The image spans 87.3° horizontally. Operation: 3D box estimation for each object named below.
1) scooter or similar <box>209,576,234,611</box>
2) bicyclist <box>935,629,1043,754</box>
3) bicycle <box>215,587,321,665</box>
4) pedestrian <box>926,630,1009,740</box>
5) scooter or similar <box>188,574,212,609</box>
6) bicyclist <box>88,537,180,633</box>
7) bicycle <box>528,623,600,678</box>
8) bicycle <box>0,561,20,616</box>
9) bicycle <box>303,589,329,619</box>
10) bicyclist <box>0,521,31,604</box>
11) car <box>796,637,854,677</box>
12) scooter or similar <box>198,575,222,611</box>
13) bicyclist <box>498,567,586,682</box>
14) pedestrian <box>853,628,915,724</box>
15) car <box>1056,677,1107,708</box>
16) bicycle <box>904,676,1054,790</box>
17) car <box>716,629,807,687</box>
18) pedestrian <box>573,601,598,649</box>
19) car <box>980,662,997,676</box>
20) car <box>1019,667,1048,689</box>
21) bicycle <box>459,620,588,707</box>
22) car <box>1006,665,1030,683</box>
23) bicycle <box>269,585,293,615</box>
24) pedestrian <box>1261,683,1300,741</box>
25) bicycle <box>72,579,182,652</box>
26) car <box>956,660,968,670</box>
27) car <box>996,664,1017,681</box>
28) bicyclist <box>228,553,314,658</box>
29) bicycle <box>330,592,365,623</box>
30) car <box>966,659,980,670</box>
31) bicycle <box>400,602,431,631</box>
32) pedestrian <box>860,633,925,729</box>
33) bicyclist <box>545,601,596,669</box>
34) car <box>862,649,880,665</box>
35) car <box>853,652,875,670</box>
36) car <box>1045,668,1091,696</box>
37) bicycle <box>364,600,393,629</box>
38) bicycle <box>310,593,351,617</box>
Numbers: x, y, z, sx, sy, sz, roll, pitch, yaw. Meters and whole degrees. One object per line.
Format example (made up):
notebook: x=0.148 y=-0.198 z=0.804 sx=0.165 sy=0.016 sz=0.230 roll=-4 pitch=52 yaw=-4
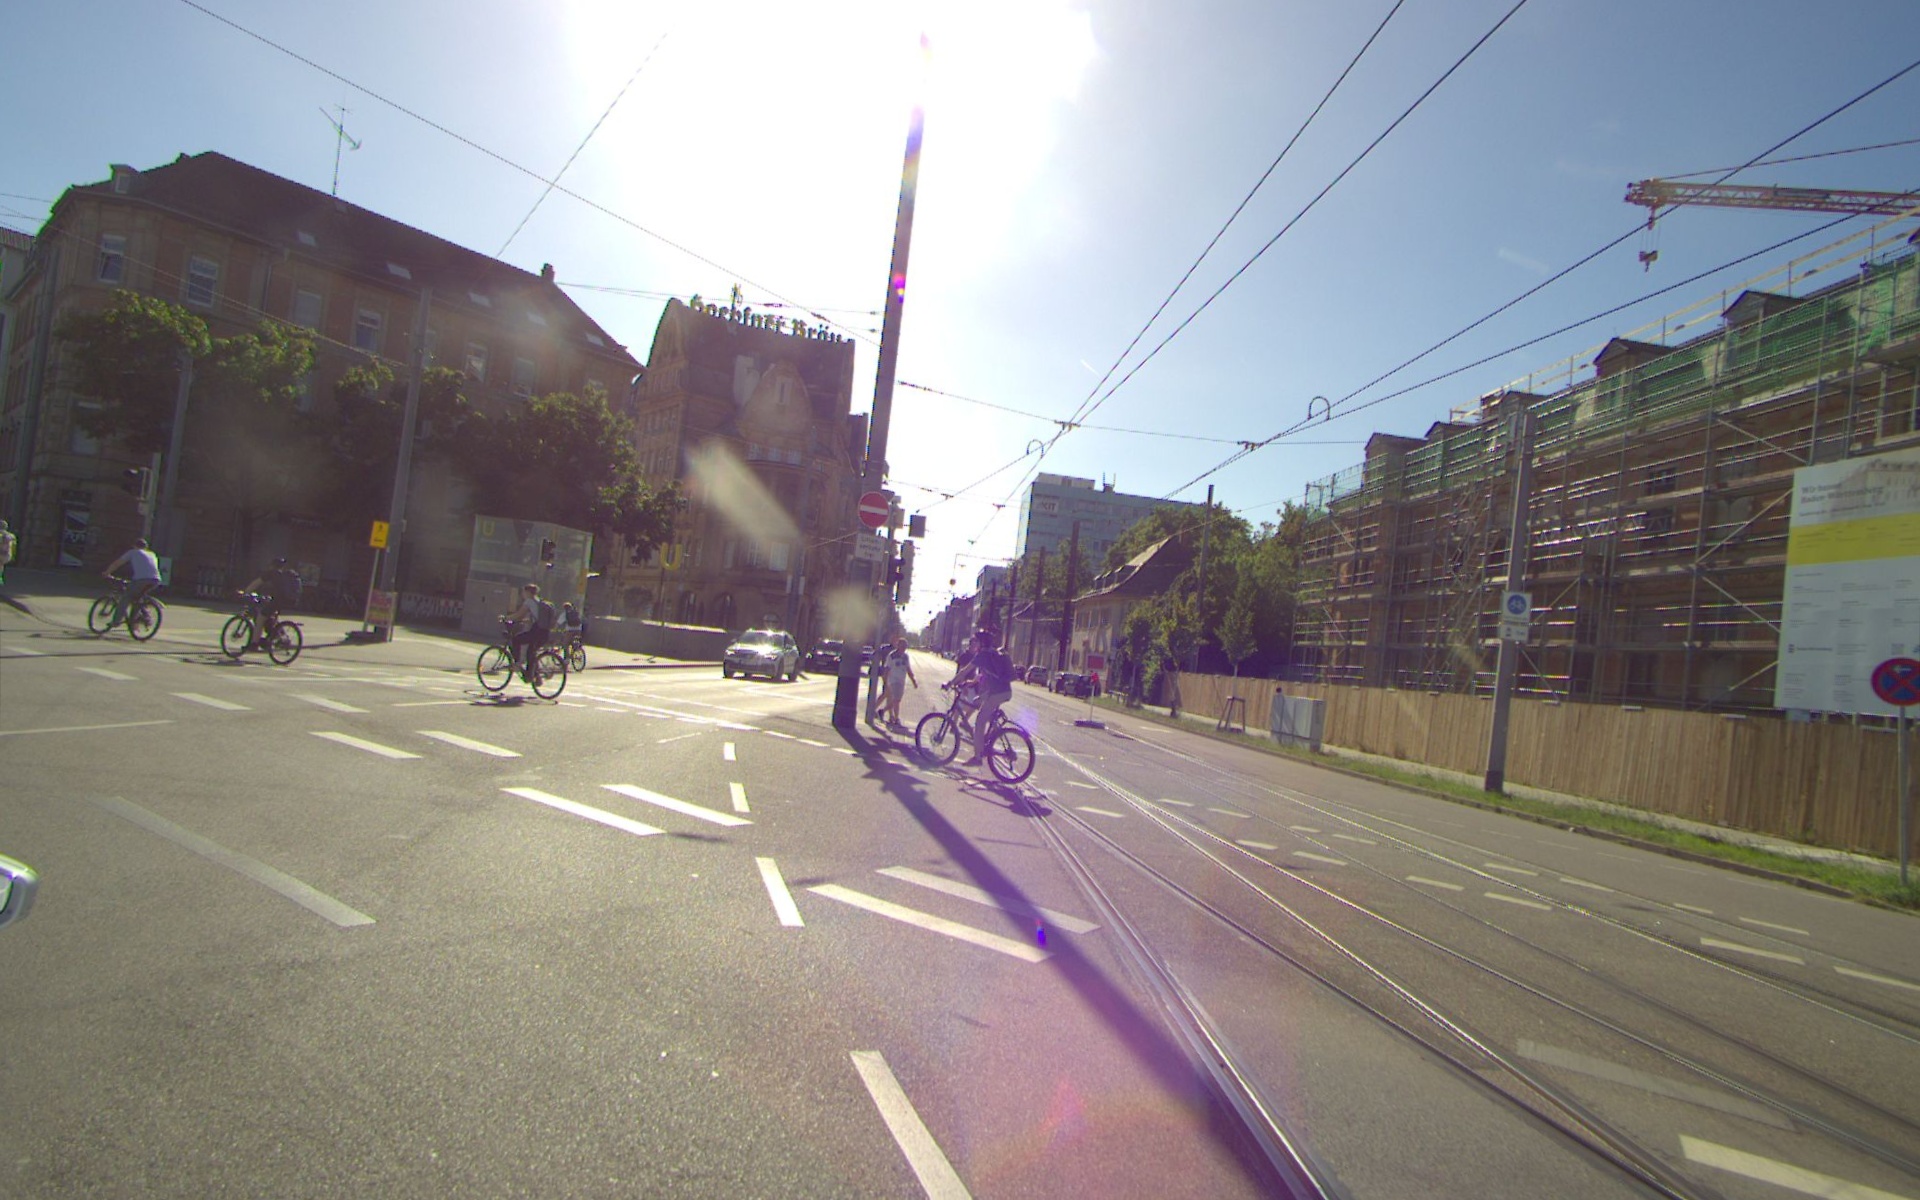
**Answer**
scooter or similar: x=-26.881 y=-0.239 z=36.603 sx=1.544 sy=1.208 sz=0.270 roll=3 pitch=-5 yaw=42
bicyclist: x=0.366 y=1.160 z=12.767 sx=1.021 sy=1.436 sz=0.675 roll=4 pitch=-4 yaw=37
bicycle: x=-11.614 y=0.429 z=16.868 sx=1.900 sy=1.130 sz=0.533 roll=4 pitch=-3 yaw=27
pedestrian: x=0.149 y=1.638 z=19.385 sx=1.033 sy=1.950 sz=0.931 roll=4 pitch=-4 yaw=37
scooter or similar: x=-27.300 y=-0.309 z=36.113 sx=1.544 sy=1.197 sz=0.270 roll=3 pitch=-5 yaw=42
bicyclist: x=-15.103 y=-0.256 z=18.405 sx=0.869 sy=1.611 sz=0.786 roll=6 pitch=-2 yaw=14
bicycle: x=-10.244 y=1.299 z=26.011 sx=1.901 sy=1.129 sz=0.533 roll=7 pitch=-3 yaw=31
bicycle: x=-21.053 y=-0.313 z=21.750 sx=1.903 sy=1.129 sz=0.532 roll=5 pitch=-4 yaw=35
bicycle: x=-25.055 y=0.155 z=39.123 sx=1.334 sy=1.072 sz=0.403 roll=3 pitch=-5 yaw=42
bicyclist: x=-20.917 y=-0.842 z=21.806 sx=1.101 sy=1.701 sz=0.683 roll=5 pitch=-4 yaw=31
car: x=-6.469 y=2.798 z=48.781 sx=1.882 sy=1.705 sz=4.259 roll=5 pitch=-4 yaw=3
scooter or similar: x=-27.103 y=-0.263 z=36.357 sx=1.544 sy=1.197 sz=0.270 roll=3 pitch=-5 yaw=42
bicyclist: x=-6.397 y=0.372 z=15.403 sx=0.935 sy=1.630 sz=0.552 roll=5 pitch=-4 yaw=22
pedestrian: x=-1.511 y=1.517 z=20.101 sx=0.811 sy=1.775 sz=0.660 roll=4 pitch=-4 yaw=37
car: x=7.503 y=5.721 z=62.595 sx=1.967 sy=1.590 sz=4.000 roll=8 pitch=-5 yaw=-9
bicycle: x=0.218 y=1.664 z=12.818 sx=1.837 sy=1.171 sz=0.532 roll=4 pitch=-3 yaw=37
car: x=-6.570 y=1.966 z=33.742 sx=1.882 sy=1.638 sz=4.259 roll=5 pitch=-4 yaw=3
pedestrian: x=-15.236 y=1.016 z=40.941 sx=0.537 sy=1.868 sz=0.651 roll=7 pitch=-3 yaw=-1
car: x=3.749 y=9.166 z=134.076 sx=1.883 sy=1.639 sz=3.825 roll=5 pitch=-4 yaw=-1
car: x=6.195 y=6.565 z=85.248 sx=1.883 sy=1.639 sz=3.825 roll=5 pitch=-4 yaw=-1
bicycle: x=-6.725 y=0.973 z=15.486 sx=1.898 sy=1.130 sz=0.533 roll=5 pitch=-3 yaw=22
car: x=5.698 y=7.305 z=99.586 sx=1.883 sy=1.639 sz=3.825 roll=5 pitch=-4 yaw=-1
bicycle: x=-25.765 y=-0.007 z=38.176 sx=0.402 sy=1.072 sz=1.465 roll=10 pitch=-5 yaw=-43
pedestrian: x=12.078 y=4.210 z=37.961 sx=0.850 sy=2.035 sz=1.088 roll=7 pitch=-4 yaw=-7
bicycle: x=-15.226 y=0.286 z=18.379 sx=1.897 sy=1.081 sz=0.388 roll=7 pitch=-1 yaw=13
car: x=0.370 y=11.950 z=185.817 sx=1.883 sy=1.639 sz=3.825 roll=5 pitch=-4 yaw=-1
car: x=5.037 y=7.941 z=110.374 sx=1.883 sy=1.639 sz=3.825 roll=5 pitch=-4 yaw=-1
bicyclist: x=-11.545 y=0.088 z=16.860 sx=0.964 sy=1.630 sz=0.625 roll=5 pitch=-4 yaw=29
bicycle: x=-24.313 y=0.301 z=39.927 sx=1.328 sy=1.072 sz=0.405 roll=5 pitch=-4 yaw=26
car: x=2.093 y=10.131 z=157.925 sx=1.883 sy=1.639 sz=3.825 roll=5 pitch=-4 yaw=-1
bicycle: x=-22.695 y=0.675 z=41.908 sx=1.439 sy=1.072 sz=0.404 roll=4 pitch=-4 yaw=35
pedestrian: x=-1.284 y=1.539 z=19.061 sx=0.811 sy=1.695 sz=0.660 roll=4 pitch=-4 yaw=37
bicyclist: x=-9.999 y=0.898 z=25.823 sx=0.937 sy=1.630 sz=0.599 roll=5 pitch=-4 yaw=32
car: x=-10.599 y=6.817 z=120.198 sx=1.721 sy=1.639 sz=4.020 roll=5 pitch=-4 yaw=-2
car: x=-9.530 y=6.062 z=100.057 sx=1.721 sy=1.639 sz=4.020 roll=5 pitch=-4 yaw=-2
car: x=7.283 y=5.550 z=68.305 sx=1.967 sy=1.634 sz=4.000 roll=8 pitch=-5 yaw=-9
bicycle: x=-23.855 y=0.580 z=41.271 sx=1.440 sy=1.072 sz=0.403 roll=4 pitch=-5 yaw=38
bicycle: x=-28.189 y=0.228 z=45.041 sx=1.414 sy=0.865 sz=0.400 roll=11 pitch=-5 yaw=-42
